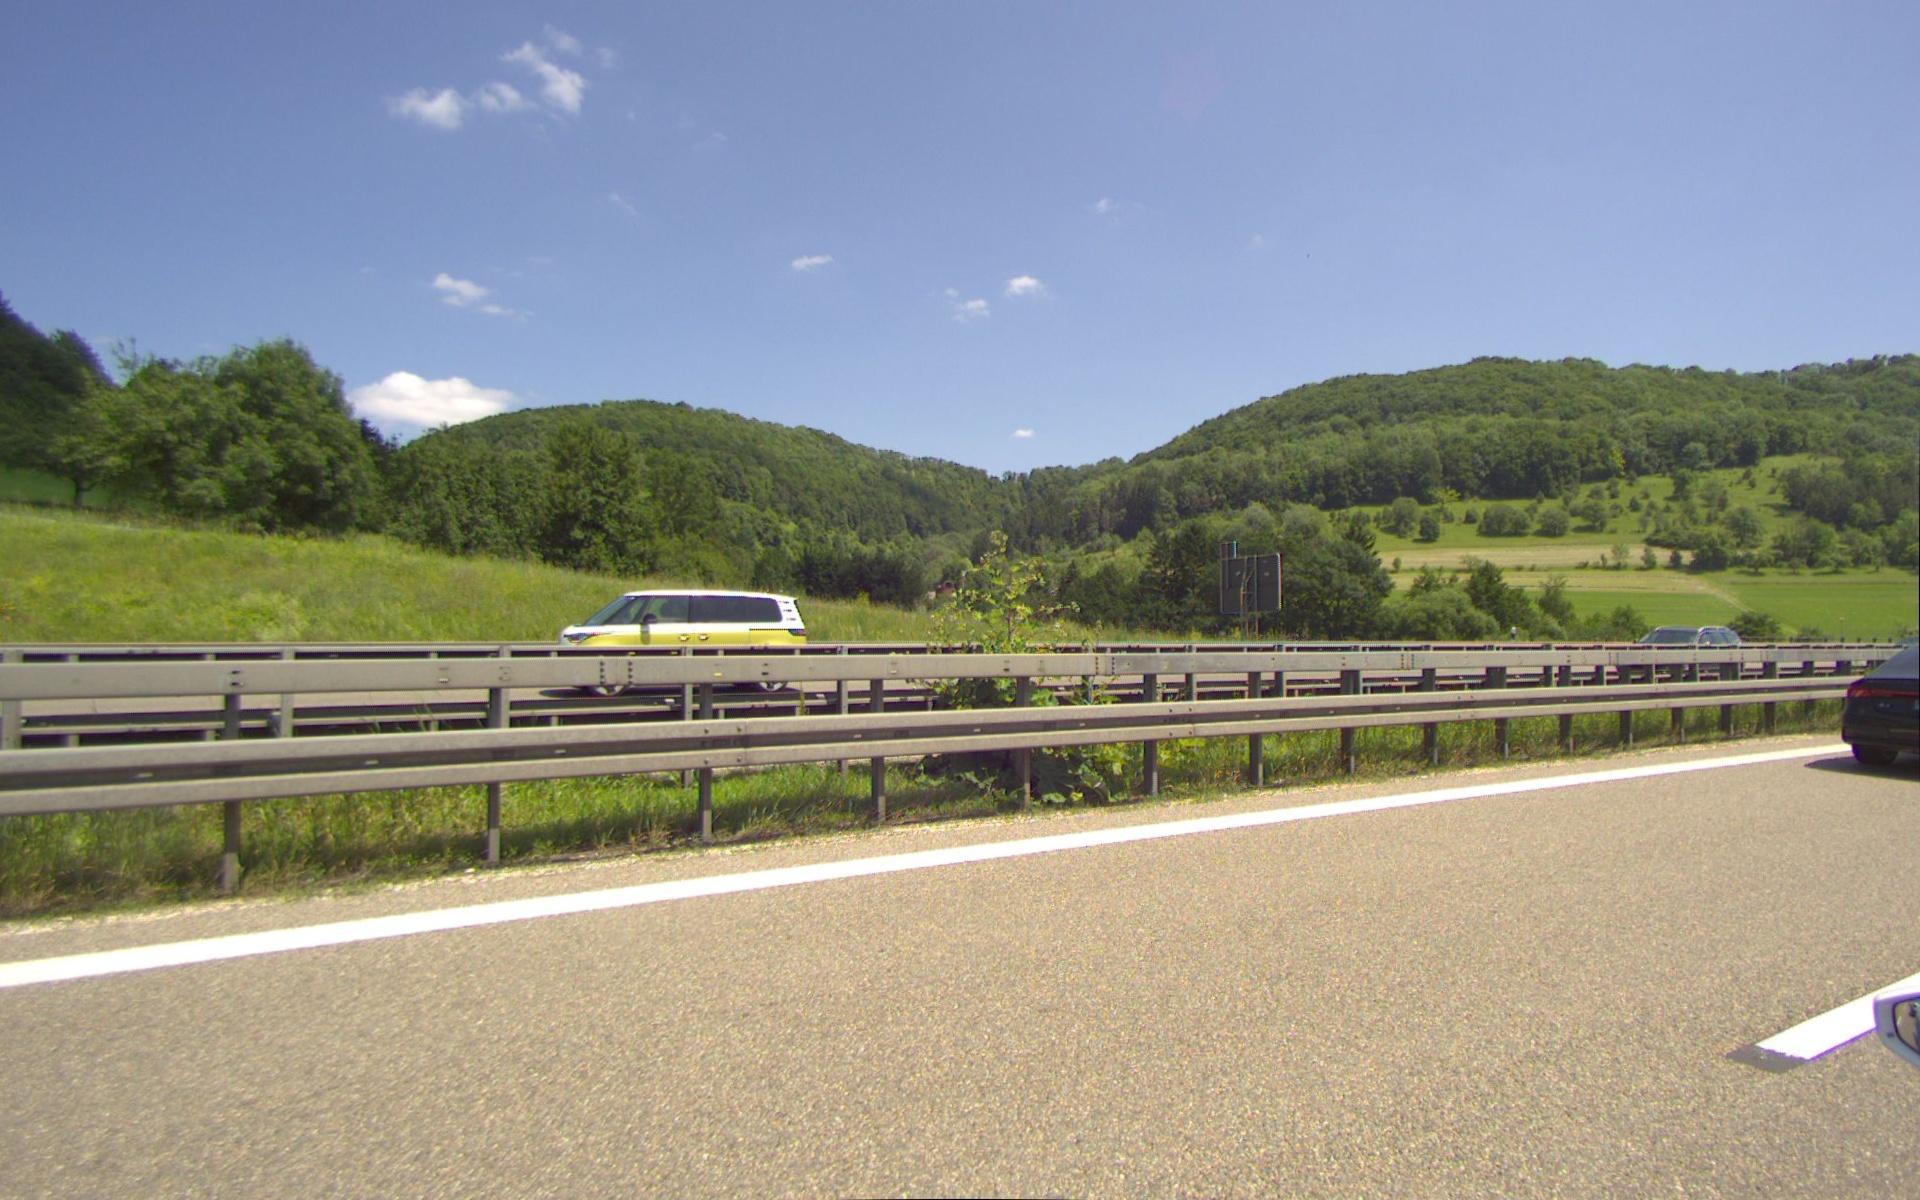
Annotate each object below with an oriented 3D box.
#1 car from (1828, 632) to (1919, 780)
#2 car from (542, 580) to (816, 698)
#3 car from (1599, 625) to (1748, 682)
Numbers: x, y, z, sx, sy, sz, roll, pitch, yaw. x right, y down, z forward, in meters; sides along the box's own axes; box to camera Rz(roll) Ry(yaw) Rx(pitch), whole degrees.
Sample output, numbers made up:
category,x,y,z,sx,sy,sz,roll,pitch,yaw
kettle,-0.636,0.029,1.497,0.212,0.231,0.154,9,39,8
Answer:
category,x,y,z,sx,sy,sz,roll,pitch,yaw
car,11.439,1.082,10.778,4.912,1.409,1.792,1,-1,-31
car,-5.240,0.705,18.881,4.606,1.967,2.050,1,-1,-30
car,21.294,1.561,29.948,4.468,1.539,1.984,1,-1,-30
